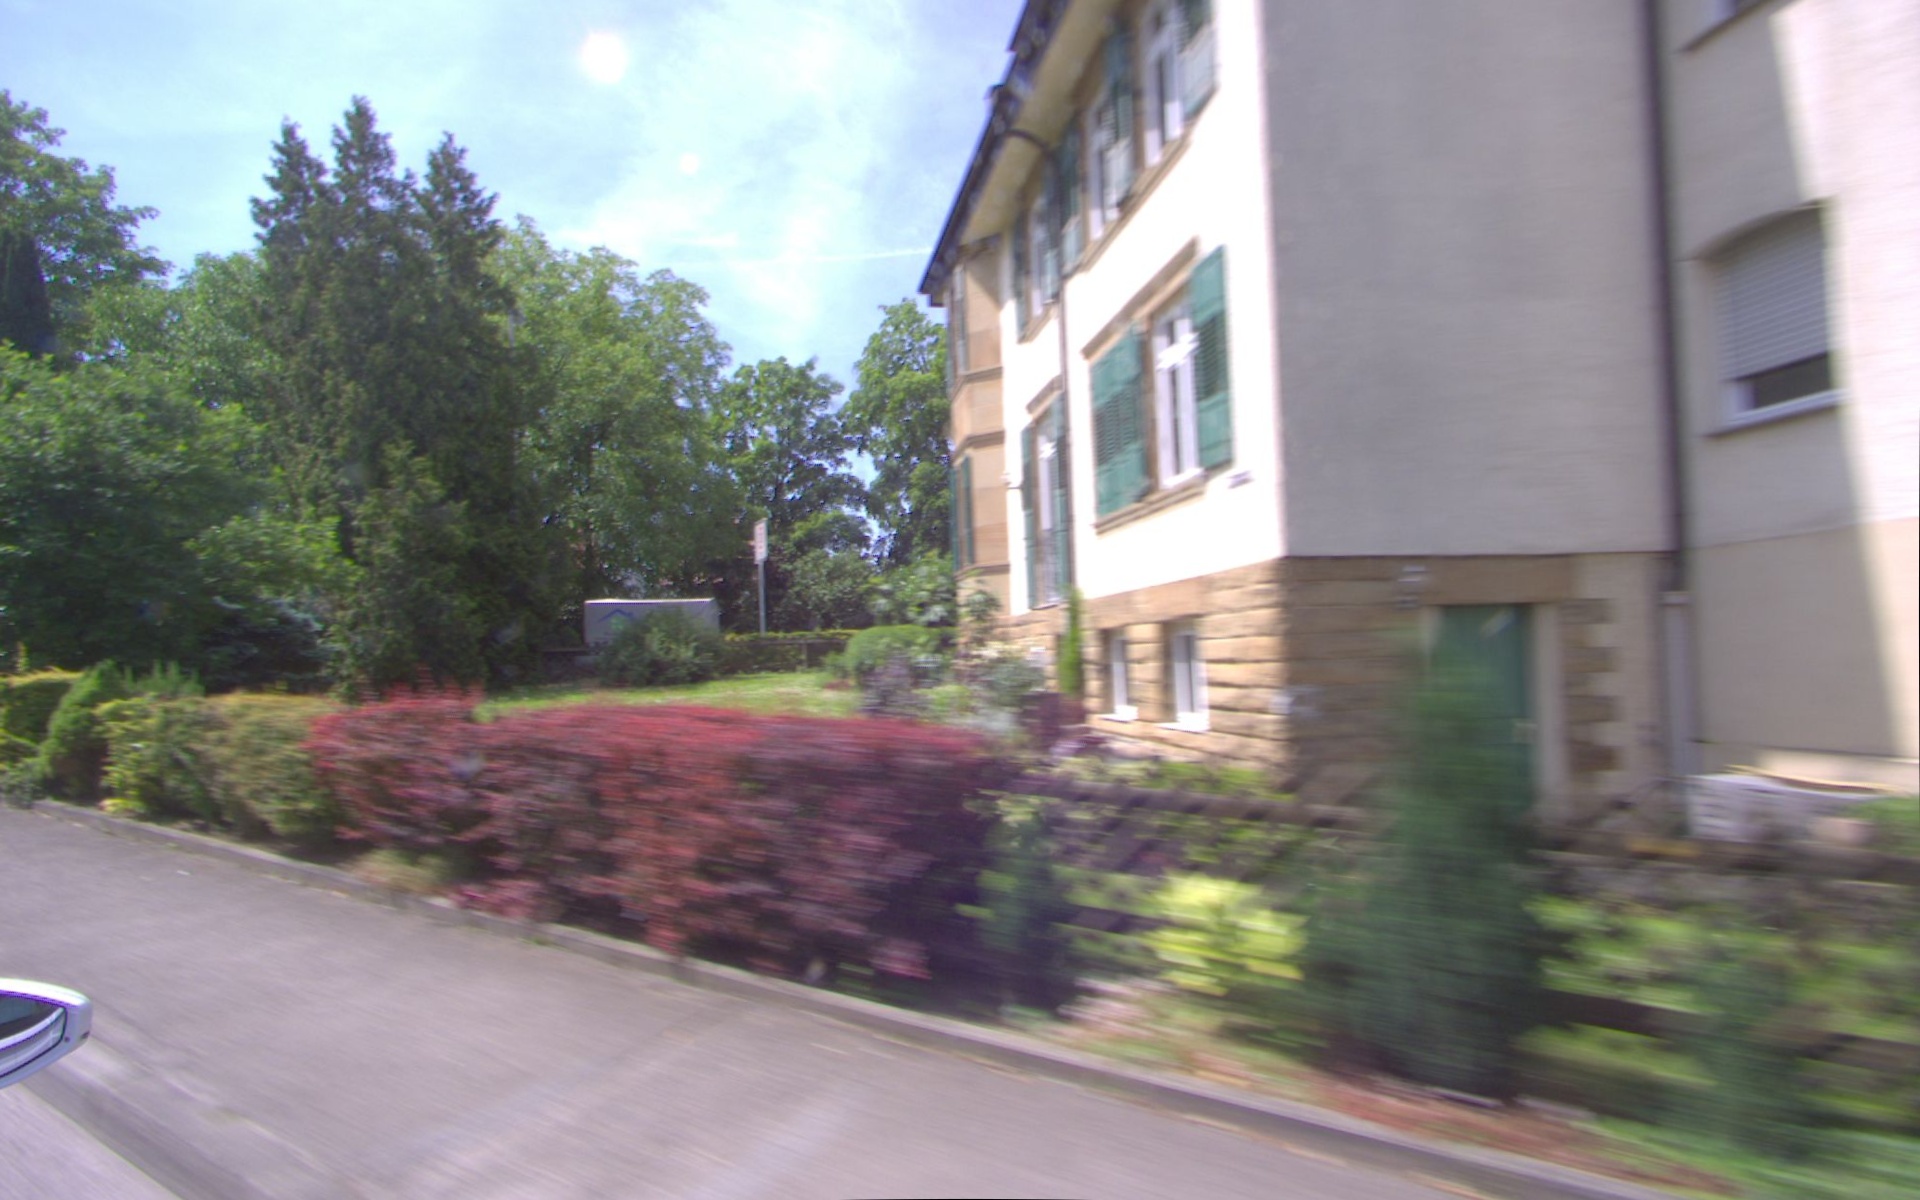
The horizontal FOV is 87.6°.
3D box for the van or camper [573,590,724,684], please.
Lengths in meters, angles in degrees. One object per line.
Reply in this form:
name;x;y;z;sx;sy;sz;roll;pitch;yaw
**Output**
van or camper;-7.739;0.965;25.151;3.323;2.165;1.821;-1;-4;-8
